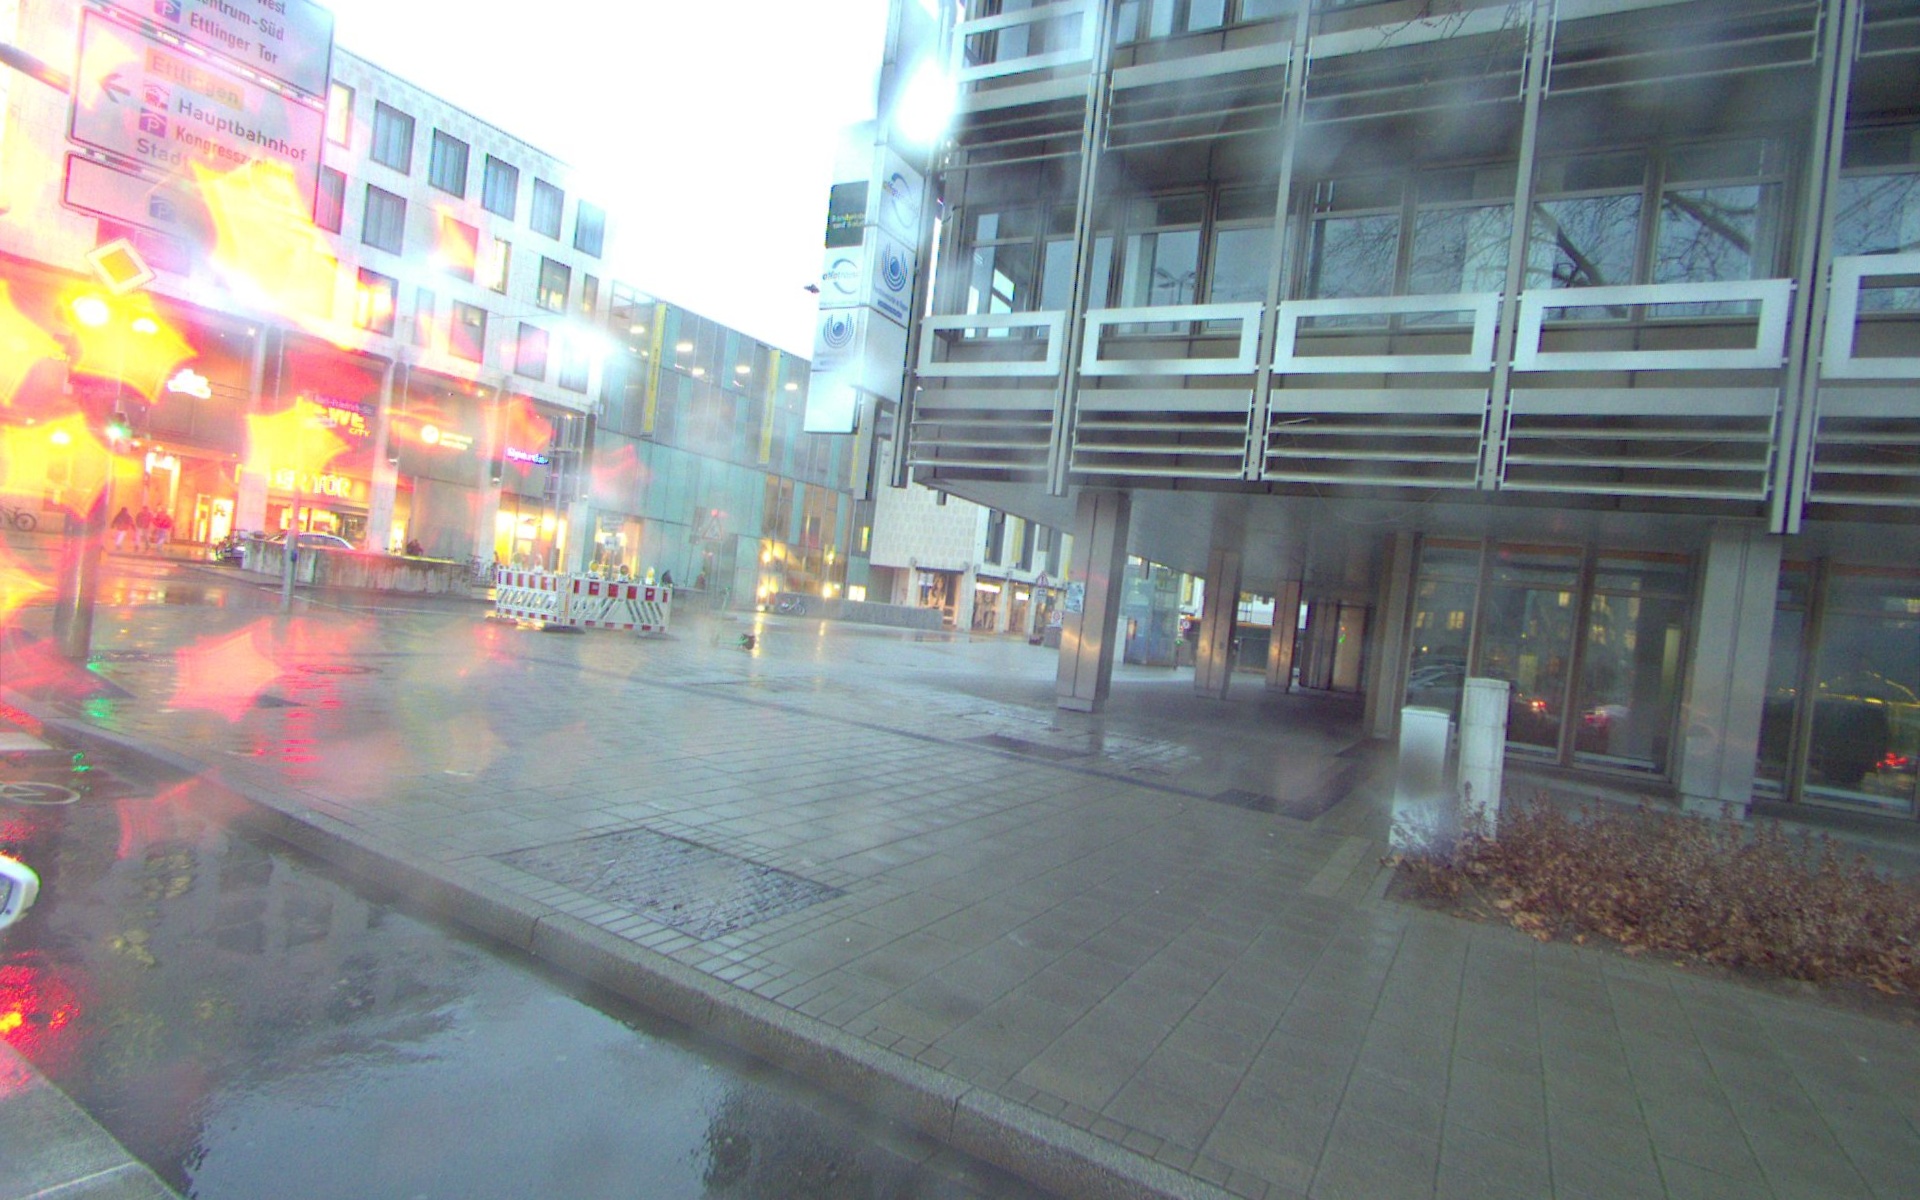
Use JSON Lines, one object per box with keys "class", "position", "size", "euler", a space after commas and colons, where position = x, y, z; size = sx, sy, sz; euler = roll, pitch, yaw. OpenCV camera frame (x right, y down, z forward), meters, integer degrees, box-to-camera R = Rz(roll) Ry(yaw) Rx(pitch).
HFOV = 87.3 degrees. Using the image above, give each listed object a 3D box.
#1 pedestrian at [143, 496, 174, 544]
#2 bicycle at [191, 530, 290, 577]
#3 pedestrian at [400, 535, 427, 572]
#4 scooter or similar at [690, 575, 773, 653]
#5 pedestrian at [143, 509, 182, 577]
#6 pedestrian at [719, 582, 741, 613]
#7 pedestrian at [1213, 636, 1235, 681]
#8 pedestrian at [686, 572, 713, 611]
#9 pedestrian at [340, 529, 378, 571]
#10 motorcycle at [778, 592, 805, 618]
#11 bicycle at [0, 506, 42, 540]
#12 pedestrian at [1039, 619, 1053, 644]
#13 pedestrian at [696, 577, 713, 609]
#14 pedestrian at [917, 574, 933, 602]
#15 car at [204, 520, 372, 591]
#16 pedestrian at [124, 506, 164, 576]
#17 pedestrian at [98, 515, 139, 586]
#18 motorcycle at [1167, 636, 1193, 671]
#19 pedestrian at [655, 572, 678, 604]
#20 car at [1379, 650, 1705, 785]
{"class": "pedestrian", "position": [-36.146, -3.620, 45.358], "size": [0.688, 2.038, 0.845], "euler": [7, 1, 40]}
{"class": "bicycle", "position": [-26.340, -1.684, 36.884], "size": [0.941, 1.375, 2.718], "euler": [6, -1, 28]}
{"class": "pedestrian", "position": [-26.506, -2.244, 48.775], "size": [0.519, 1.705, 0.894], "euler": [6, 0, 31]}
{"class": "scooter or similar", "position": [-4.590, 0.275, 20.181], "size": [1.470, 1.368, 0.593], "euler": [7, -1, 32]}
{"class": "pedestrian", "position": [-30.452, -2.177, 38.404], "size": [0.778, 2.477, 0.694], "euler": [7, -1, 32]}
{"class": "pedestrian", "position": [-13.266, -0.143, 58.025], "size": [0.770, 1.703, 0.742], "euler": [6, -1, 38]}
{"class": "pedestrian", "position": [11.059, 2.446, 42.182], "size": [0.678, 1.796, 0.660], "euler": [7, -1, 16]}
{"class": "pedestrian", "position": [-12.352, -0.398, 47.714], "size": [0.770, 1.703, 0.742], "euler": [6, -1, 38]}
{"class": "pedestrian", "position": [-26.899, -2.225, 45.024], "size": [0.810, 1.703, 1.032], "euler": [6, -1, 31]}
{"class": "motorcycle", "position": [-10.207, 0.286, 61.092], "size": [0.585, 1.368, 1.491], "euler": [7, -1, 36]}
{"class": "bicycle", "position": [-36.438, -2.987, 38.567], "size": [0.515, 1.082, 1.651], "euler": [7, -2, 28]}
{"class": "pedestrian", "position": [6.071, 2.217, 70.715], "size": [0.573, 1.703, 0.542], "euler": [6, -1, 38]}
{"class": "pedestrian", "position": [-14.367, -0.370, 56.563], "size": [0.573, 1.703, 0.542], "euler": [6, -1, 38]}
{"class": "pedestrian", "position": [-2.225, -0.771, 64.101], "size": [0.573, 1.703, 0.542], "euler": [6, -1, 38]}
{"class": "car", "position": [-21.736, -1.413, 32.681], "size": [1.968, 1.636, 3.994], "euler": [6, -2, 33]}
{"class": "pedestrian", "position": [-30.439, -2.204, 37.526], "size": [0.745, 2.469, 0.691], "euler": [7, -1, 31]}
{"class": "pedestrian", "position": [-30.748, -1.811, 36.755], "size": [0.745, 2.469, 0.716], "euler": [7, -1, 31]}
{"class": "motorcycle", "position": [9.683, 2.360, 44.207], "size": [0.584, 1.368, 1.493], "euler": [7, -1, 29]}
{"class": "pedestrian", "position": [-16.853, -0.687, 57.759], "size": [0.770, 1.703, 0.742], "euler": [6, -1, 38]}
{"class": "car", "position": [8.682, 1.664, 15.239], "size": [3.935, 1.327, 1.994], "euler": [6, 1, 33]}
